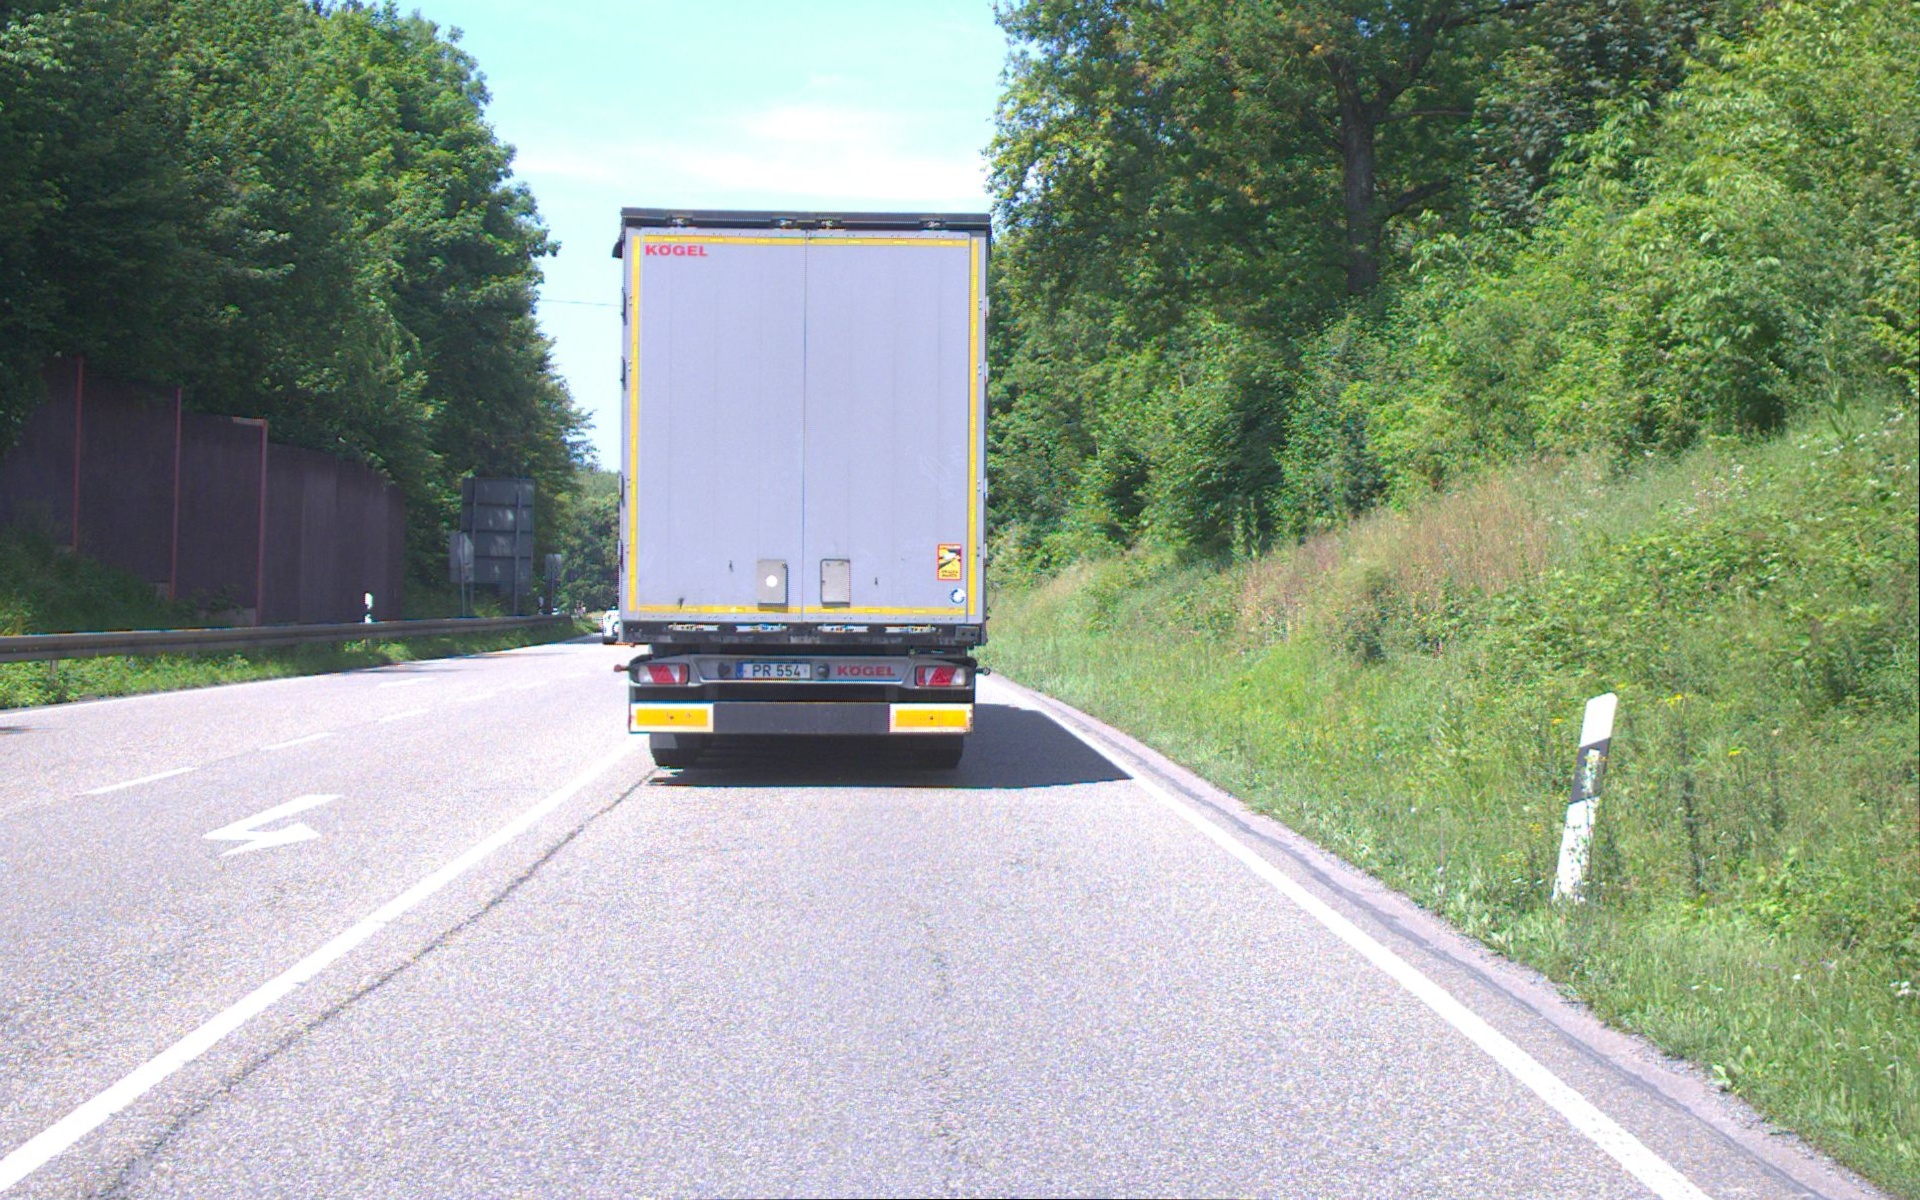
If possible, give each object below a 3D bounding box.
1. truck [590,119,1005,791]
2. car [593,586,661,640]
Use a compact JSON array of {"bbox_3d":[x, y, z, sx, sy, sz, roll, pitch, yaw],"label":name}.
[{"bbox_3d":[-1.170,-1.060,26.908,2.822,4.588,6.666,0,1,-1],"label":"truck"},{"bbox_3d":[-9.165,0.336,94.482,1.805,1.430,3.872,0,1,-6],"label":"car"}]
